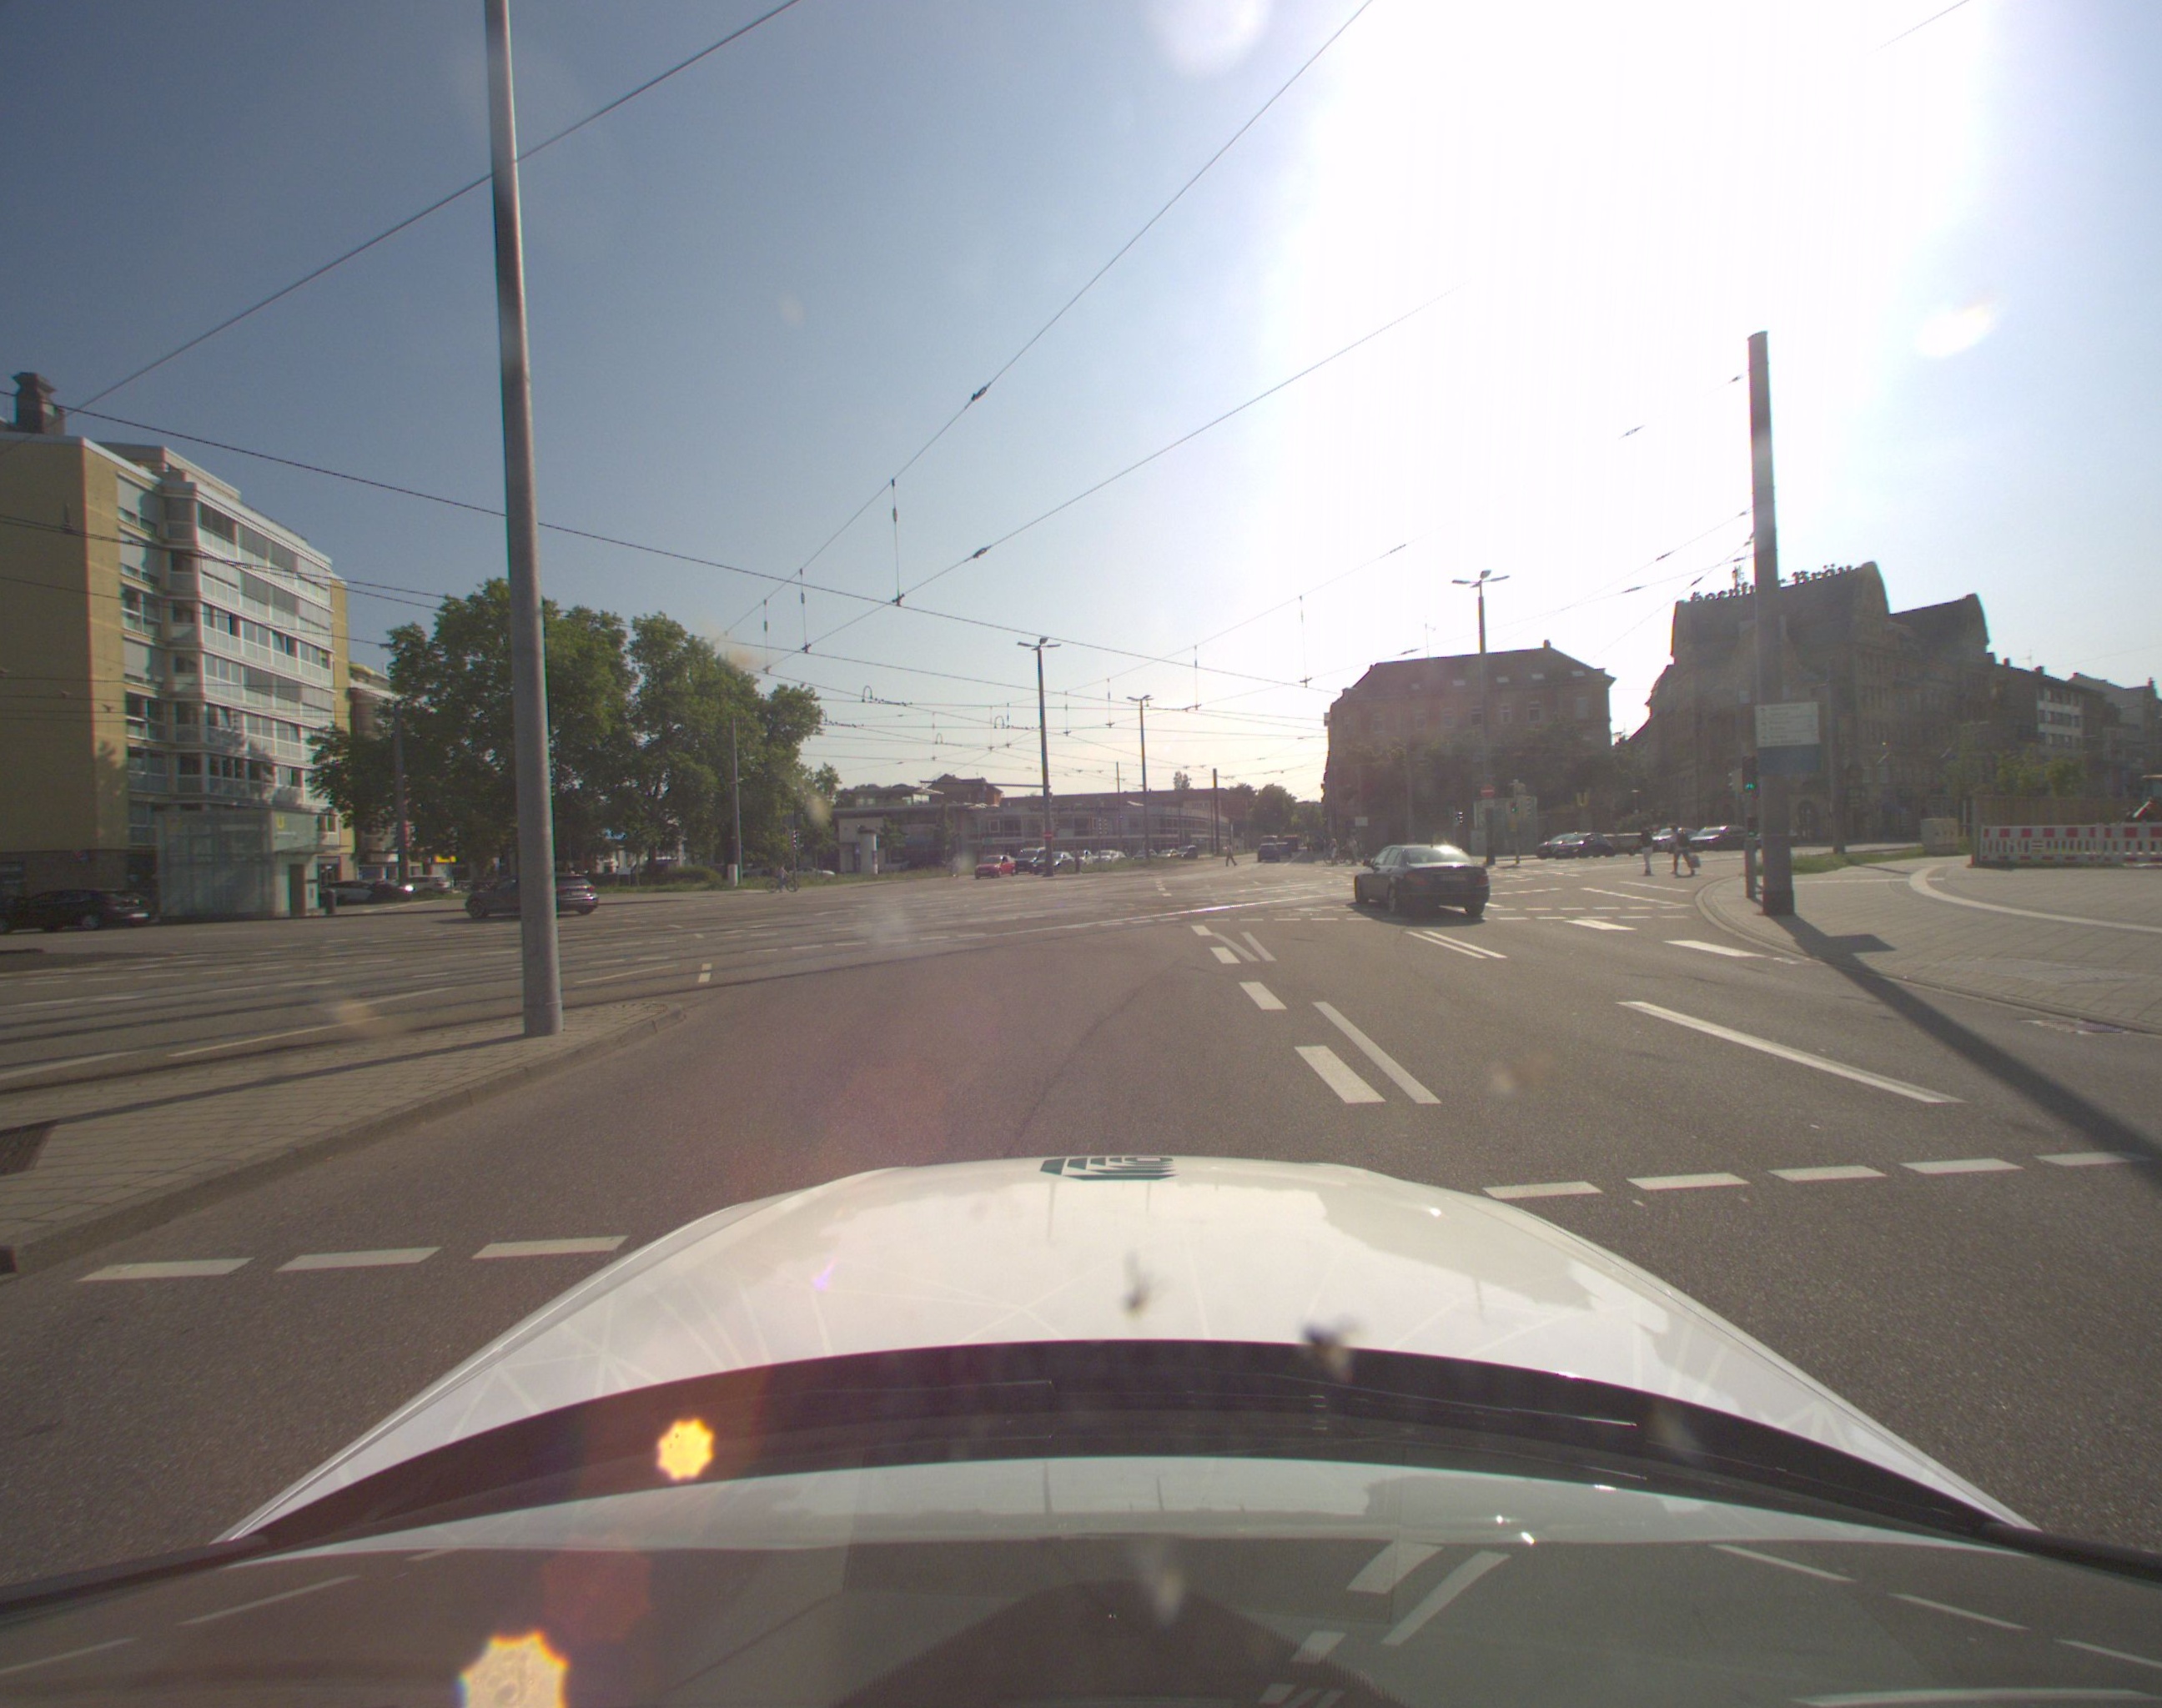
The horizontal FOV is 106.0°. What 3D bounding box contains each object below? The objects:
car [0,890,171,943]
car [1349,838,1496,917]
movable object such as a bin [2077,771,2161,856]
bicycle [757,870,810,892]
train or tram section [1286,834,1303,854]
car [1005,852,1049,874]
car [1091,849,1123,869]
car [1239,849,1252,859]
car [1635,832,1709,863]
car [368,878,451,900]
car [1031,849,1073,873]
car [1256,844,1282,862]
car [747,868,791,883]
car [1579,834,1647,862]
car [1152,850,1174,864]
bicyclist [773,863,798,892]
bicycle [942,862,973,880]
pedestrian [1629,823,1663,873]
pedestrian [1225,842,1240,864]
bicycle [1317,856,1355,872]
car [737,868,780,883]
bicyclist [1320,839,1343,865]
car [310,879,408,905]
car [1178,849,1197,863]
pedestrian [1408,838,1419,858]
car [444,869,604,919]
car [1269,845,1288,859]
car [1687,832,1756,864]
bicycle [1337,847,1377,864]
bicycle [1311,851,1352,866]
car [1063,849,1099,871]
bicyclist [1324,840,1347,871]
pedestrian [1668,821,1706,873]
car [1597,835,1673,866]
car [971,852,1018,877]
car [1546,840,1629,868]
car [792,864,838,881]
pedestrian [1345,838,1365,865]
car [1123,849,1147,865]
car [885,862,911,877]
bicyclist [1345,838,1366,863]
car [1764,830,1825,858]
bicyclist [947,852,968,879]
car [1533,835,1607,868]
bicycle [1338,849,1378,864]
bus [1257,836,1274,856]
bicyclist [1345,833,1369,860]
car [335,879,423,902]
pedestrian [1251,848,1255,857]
[{"bbox_3d":[-34.432,2.123,27.725,4.362,1.491,1.681,-2,0,-12],"label":"car"},{"bbox_3d":[7.154,0.429,17.561,1.674,1.442,4.379,-2,0,6],"label":"car"},{"bbox_3d":[34.661,-1.332,26.123,8.008,2.442,2.428,-2,0,-32],"label":"movable object such as a bin"},{"bbox_3d":[-16.241,1.458,44.501,2.603,1.057,0.956,-2,0,-14],"label":"bicycle"},{"bbox_3d":[40.293,-1.882,153.682,2.636,3.699,10.627,-2,0,13],"label":"train or tram section"},{"bbox_3d":[-3.970,0.650,60.527,1.946,1.475,4.017,-4,-1,16],"label":"car"},{"bbox_3d":[2.181,0.379,68.091,1.602,1.475,4.018,-4,-1,17],"label":"car"},{"bbox_3d":[26.947,0.039,133.059,1.602,1.475,4.018,-4,-1,17],"label":"car"},{"bbox_3d":[39.238,-0.447,54.058,4.675,1.859,2.027,-2,0,-27],"label":"car"},{"bbox_3d":[-47.121,2.429,57.222,4.168,1.354,1.568,-2,0,-19],"label":"car"},{"bbox_3d":[-1.959,0.457,55.592,1.602,1.475,4.017,-4,-1,16],"label":"car"},{"bbox_3d":[15.993,-0.089,69.239,1.811,1.428,4.431,-2,0,16],"label":"car"},{"bbox_3d":[-35.825,2.461,93.509,1.683,1.522,4.544,-2,0,32],"label":"car"},{"bbox_3d":[38.840,-0.454,59.465,4.273,1.859,1.919,-2,0,-20],"label":"car"},{"bbox_3d":[9.380,0.348,93.068,1.602,1.475,4.018,-4,-1,17],"label":"car"},{"bbox_3d":[-16.158,1.278,44.527,1.164,1.527,0.956,0,-1,-13],"label":"bicyclist"},{"bbox_3d":[-8.157,1.111,53.812,0.950,1.057,2.620,-2,0,17],"label":"bicycle"},{"bbox_3d":[19.717,-0.205,28.416,0.910,1.690,0.843,-2,-1,37],"label":"pedestrian"},{"bbox_3d":[10.902,-0.065,58.796,0.779,1.503,0.706,-2,0,-17],"label":"pedestrian"},{"bbox_3d":[17.038,0.664,54.377,2.639,0.964,1.081,-2,0,-37],"label":"bicycle"},{"bbox_3d":[-37.490,2.499,94.852,1.683,1.522,4.544,-2,0,32],"label":"car"},{"bbox_3d":[17.421,-0.140,56.644,0.938,1.800,1.084,-2,0,-23],"label":"bicyclist"},{"bbox_3d":[-44.439,2.308,50.231,4.168,1.354,1.568,-2,0,-19],"label":"car"},{"bbox_3d":[12.929,0.242,98.727,1.602,1.475,4.018,-4,-1,17],"label":"car"},{"bbox_3d":[25.495,-0.449,62.482,0.672,1.471,0.540,-2,0,-44],"label":"pedestrian"},{"bbox_3d":[-18.015,1.289,26.366,4.499,1.435,1.847,-2,0,18],"label":"car"},{"bbox_3d":[21.384,-0.229,87.883,1.812,1.428,4.430,-2,0,15],"label":"car"},{"bbox_3d":[40.315,-0.381,51.236,4.078,1.859,1.893,-2,0,-27],"label":"car"},{"bbox_3d":[17.854,0.084,52.646,2.639,0.964,1.081,-2,0,-37],"label":"bicycle"},{"bbox_3d":[17.452,0.314,56.652,2.630,0.964,1.084,-2,0,-24],"label":"bicycle"},{"bbox_3d":[0.049,0.418,61.947,1.602,1.475,4.017,-4,-1,16],"label":"car"},{"bbox_3d":[16.980,0.122,54.355,0.941,2.024,1.081,-2,0,-37],"label":"bicyclist"},{"bbox_3d":[20.336,-0.240,27.317,0.911,1.690,0.931,-2,-1,40],"label":"pedestrian"},{"bbox_3d":[35.880,-0.232,52.716,4.718,1.859,1.894,-2,0,-25],"label":"car"},{"bbox_3d":[-5.608,0.672,53.454,1.602,1.475,4.017,-4,-1,16],"label":"car"},{"bbox_3d":[28.537,0.000,45.902,4.398,1.397,2.005,-2,0,-27],"label":"car"},{"bbox_3d":[-26.971,1.881,82.634,4.066,1.522,1.708,-2,0,5],"label":"car"},{"bbox_3d":[18.699,-0.202,55.598,0.933,1.797,0.850,-2,0,-40],"label":"pedestrian"},{"bbox_3d":[5.706,0.315,85.987,1.602,1.475,4.018,-4,-1,17],"label":"car"},{"bbox_3d":[-20.794,1.714,92.579,1.691,1.522,4.105,-2,0,5],"label":"car"},{"bbox_3d":[19.587,-0.247,58.131,0.938,1.680,1.084,-2,0,-23],"label":"bicyclist"},{"bbox_3d":[51.314,-0.704,58.571,4.123,1.859,1.915,-2,0,-27],"label":"car"},{"bbox_3d":[-8.163,0.765,53.825,0.950,1.748,1.171,-2,0,17],"label":"bicyclist"},{"bbox_3d":[30.060,-0.172,50.062,4.260,1.859,1.893,-2,0,-27],"label":"car"},{"bbox_3d":[19.778,0.154,58.214,2.630,0.964,1.084,-2,0,-24],"label":"bicycle"},{"bbox_3d":[35.126,-1.453,155.296,2.900,3.619,16.805,-2,0,13],"label":"bus"},{"bbox_3d":[17.834,-0.497,52.651,0.941,1.708,1.081,-2,0,-37],"label":"bicyclist"},{"bbox_3d":[-47.185,2.438,54.852,4.168,1.354,1.568,-2,0,-19],"label":"car"},{"bbox_3d":[30.571,-0.278,145.116,0.590,1.630,0.640,-2,0,18],"label":"pedestrian"}]
